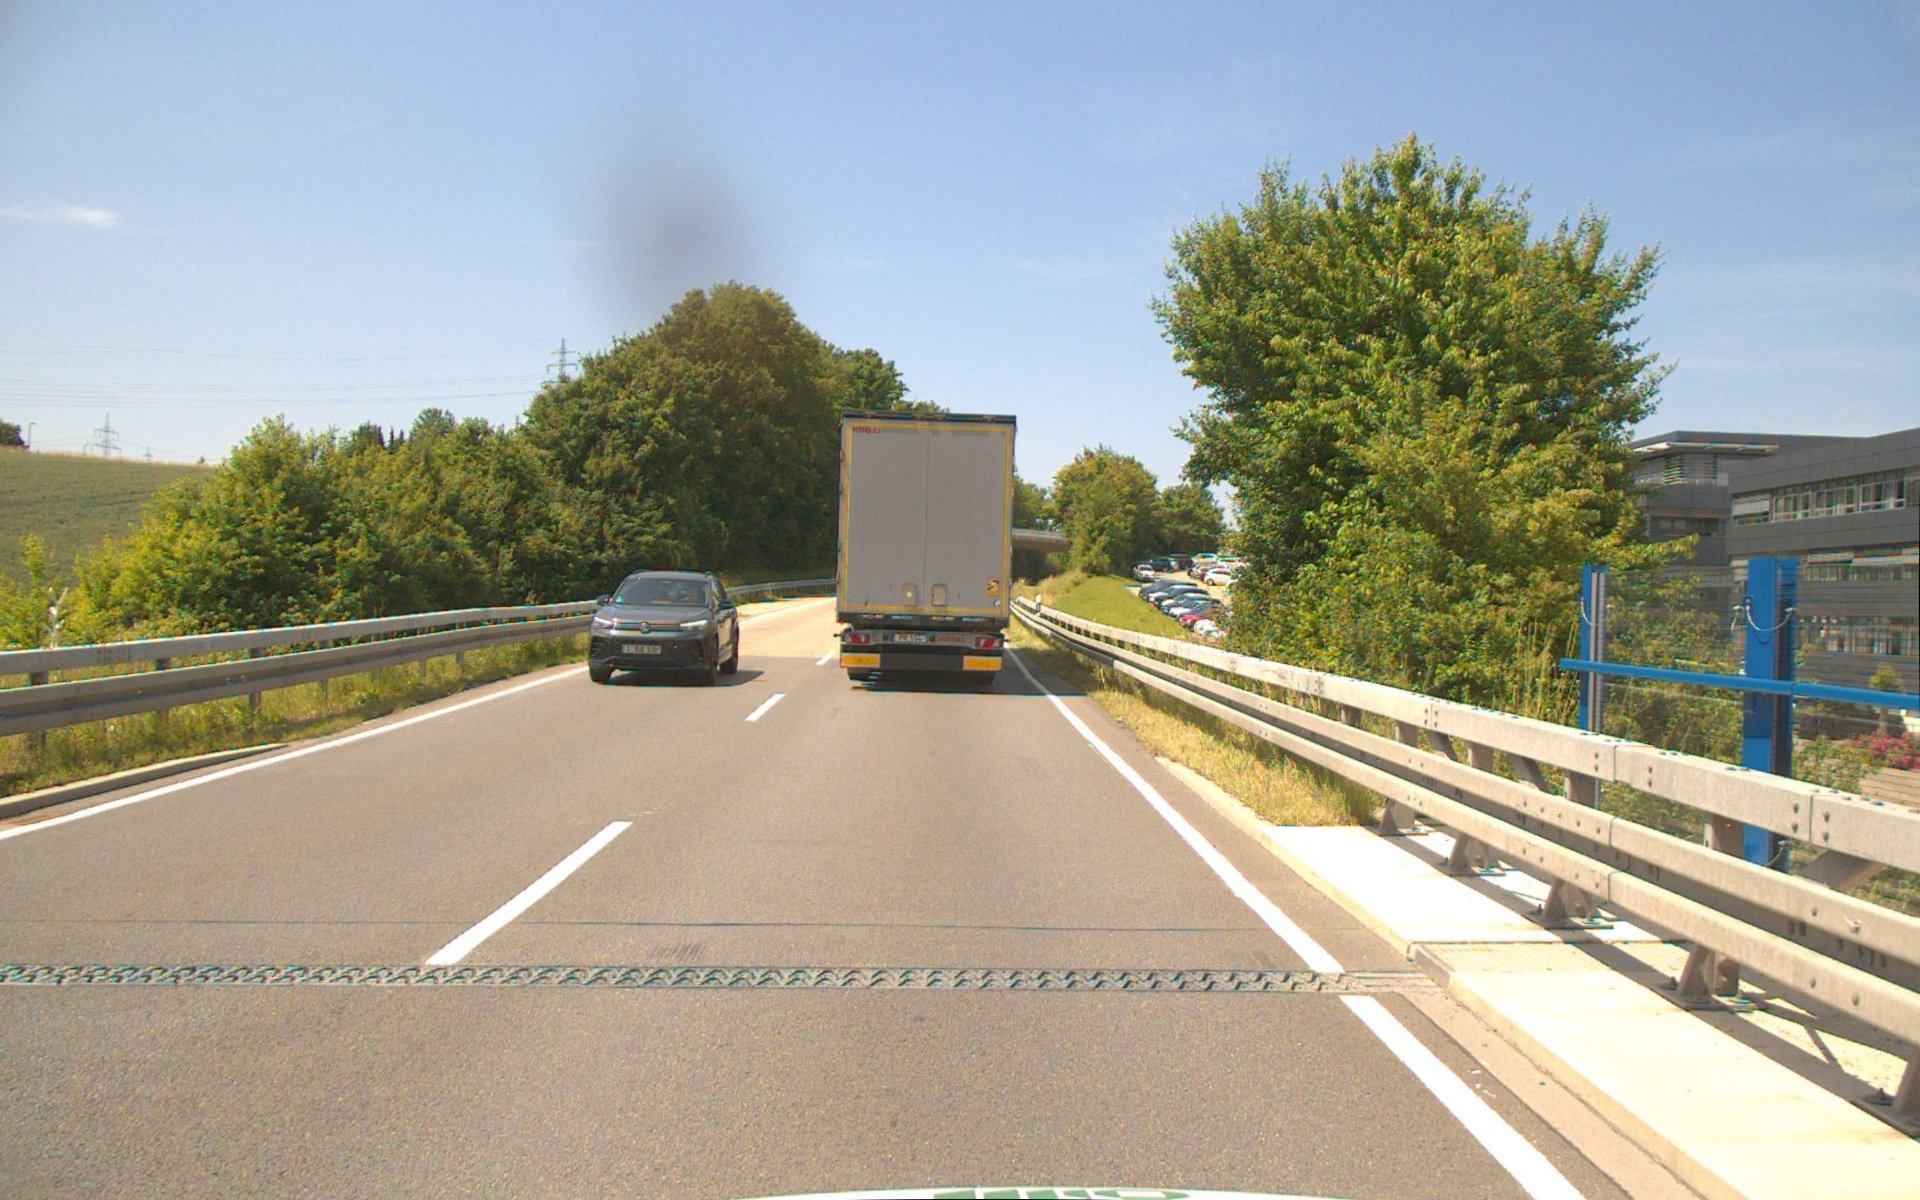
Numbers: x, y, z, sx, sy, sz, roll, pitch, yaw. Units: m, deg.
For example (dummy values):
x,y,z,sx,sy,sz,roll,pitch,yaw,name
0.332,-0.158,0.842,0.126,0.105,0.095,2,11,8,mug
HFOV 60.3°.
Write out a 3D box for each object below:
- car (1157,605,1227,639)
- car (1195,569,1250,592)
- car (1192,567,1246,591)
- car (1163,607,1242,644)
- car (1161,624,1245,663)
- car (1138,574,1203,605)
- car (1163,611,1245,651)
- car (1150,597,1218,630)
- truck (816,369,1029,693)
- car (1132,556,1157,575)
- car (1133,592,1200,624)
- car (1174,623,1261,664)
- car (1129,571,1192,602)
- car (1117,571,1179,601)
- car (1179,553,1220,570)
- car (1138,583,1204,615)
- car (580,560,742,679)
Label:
x,y,z,sx,sy,sz,roll,pitch,yaw,name
15.172,1.435,107.999,4.328,1.713,1.867,5,4,-36,car
23.509,-1.777,148.193,4.481,1.656,1.820,6,3,22,car
23.597,-1.925,150.863,4.482,1.656,1.820,7,3,22,car
15.017,1.578,102.423,4.301,1.713,1.878,6,4,-21,car
14.107,2.490,95.940,4.288,1.584,1.884,10,4,30,car
15.509,-0.749,121.949,4.312,1.713,1.873,6,4,-28,car
14.588,1.835,98.937,4.361,1.713,1.887,9,4,23,car
15.062,0.932,111.062,4.328,1.713,1.867,5,4,-36,car
-0.616,-1.102,28.305,2.808,4.434,9.788,3,1,-1,truck
17.055,-3.241,153.230,1.593,1.375,3.711,7,4,-3,car
14.221,0.569,113.867,4.328,1.713,1.867,5,4,-36,car
14.353,2.411,92.207,4.282,1.584,1.887,9,4,25,car
15.100,-1.002,124.593,4.312,1.713,1.873,6,4,-28,car
14.484,-1.071,127.322,4.312,1.713,1.873,6,4,-28,car
27.783,-4.450,191.547,4.311,1.713,1.873,1,6,-27,car
15.126,-0.039,118.502,4.312,1.713,1.873,6,4,-28,car
-4.505,0.245,25.514,1.828,1.639,4.371,1,1,-2,car
